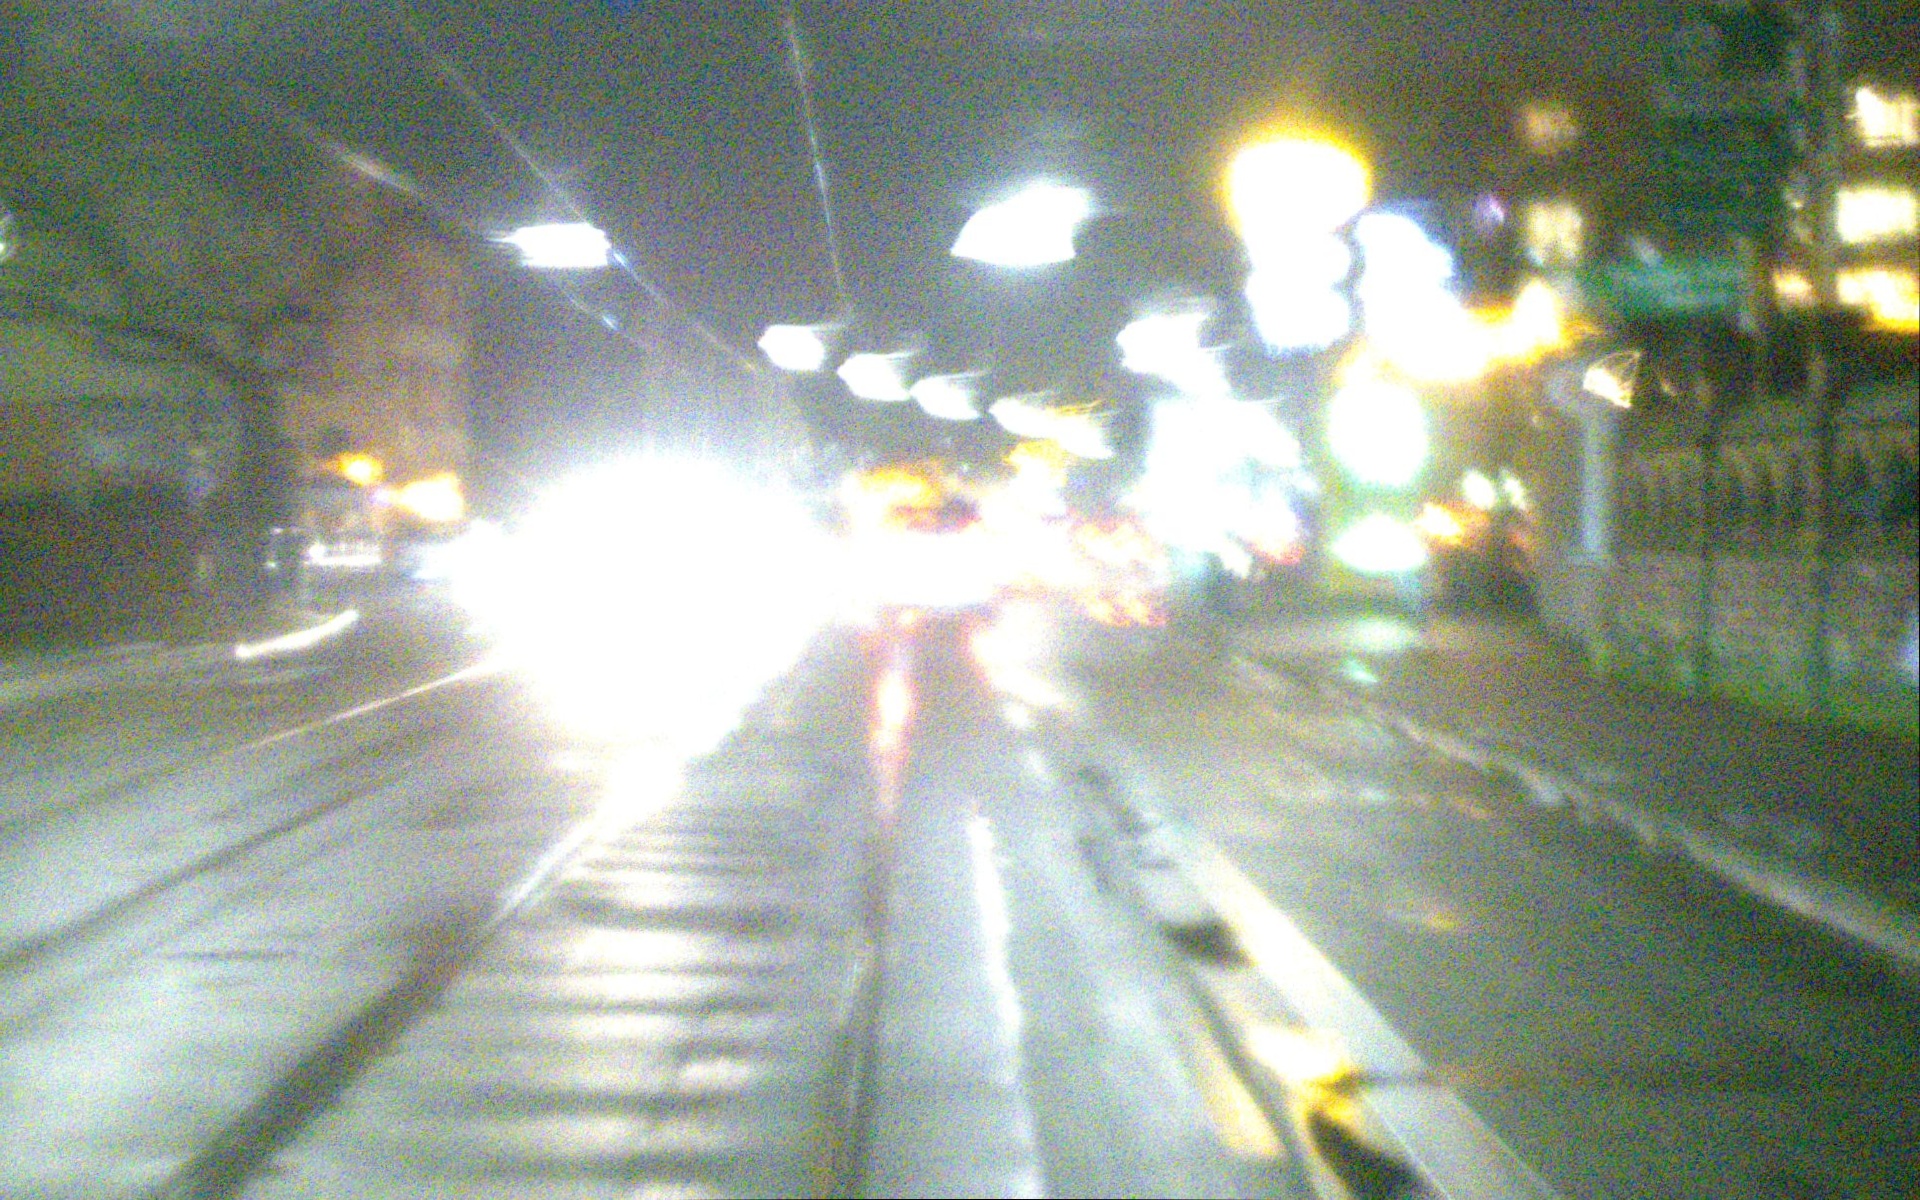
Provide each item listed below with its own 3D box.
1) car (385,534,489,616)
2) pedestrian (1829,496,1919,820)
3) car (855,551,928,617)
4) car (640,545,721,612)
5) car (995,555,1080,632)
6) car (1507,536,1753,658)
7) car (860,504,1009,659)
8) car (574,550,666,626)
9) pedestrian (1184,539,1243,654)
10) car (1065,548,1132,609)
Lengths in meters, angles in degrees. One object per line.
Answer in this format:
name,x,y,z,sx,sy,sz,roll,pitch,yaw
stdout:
car,-13.174,-0.639,86.823,1.993,2.007,4.000,1,0,0
pedestrian,5.240,0.277,18.168,0.939,1.658,0.994,-2,1,-5
car,-1.941,-0.471,97.229,1.993,1.809,4.000,1,0,-1
car,-8.248,-0.647,101.939,2.319,1.925,4.964,1,1,-4
car,1.891,-0.167,83.702,2.016,1.809,4.000,1,0,2
car,9.807,-0.053,50.135,2.028,1.694,4.114,1,1,35
car,-0.454,-0.301,54.608,2.244,2.353,4.394,1,0,-2
car,-7.949,-0.288,80.675,1.993,1.718,4.077,1,1,-4
pedestrian,3.973,-0.058,53.908,0.778,1.770,0.693,1,0,17
car,4.629,-0.733,115.769,1.993,2.007,4.000,1,0,-1
